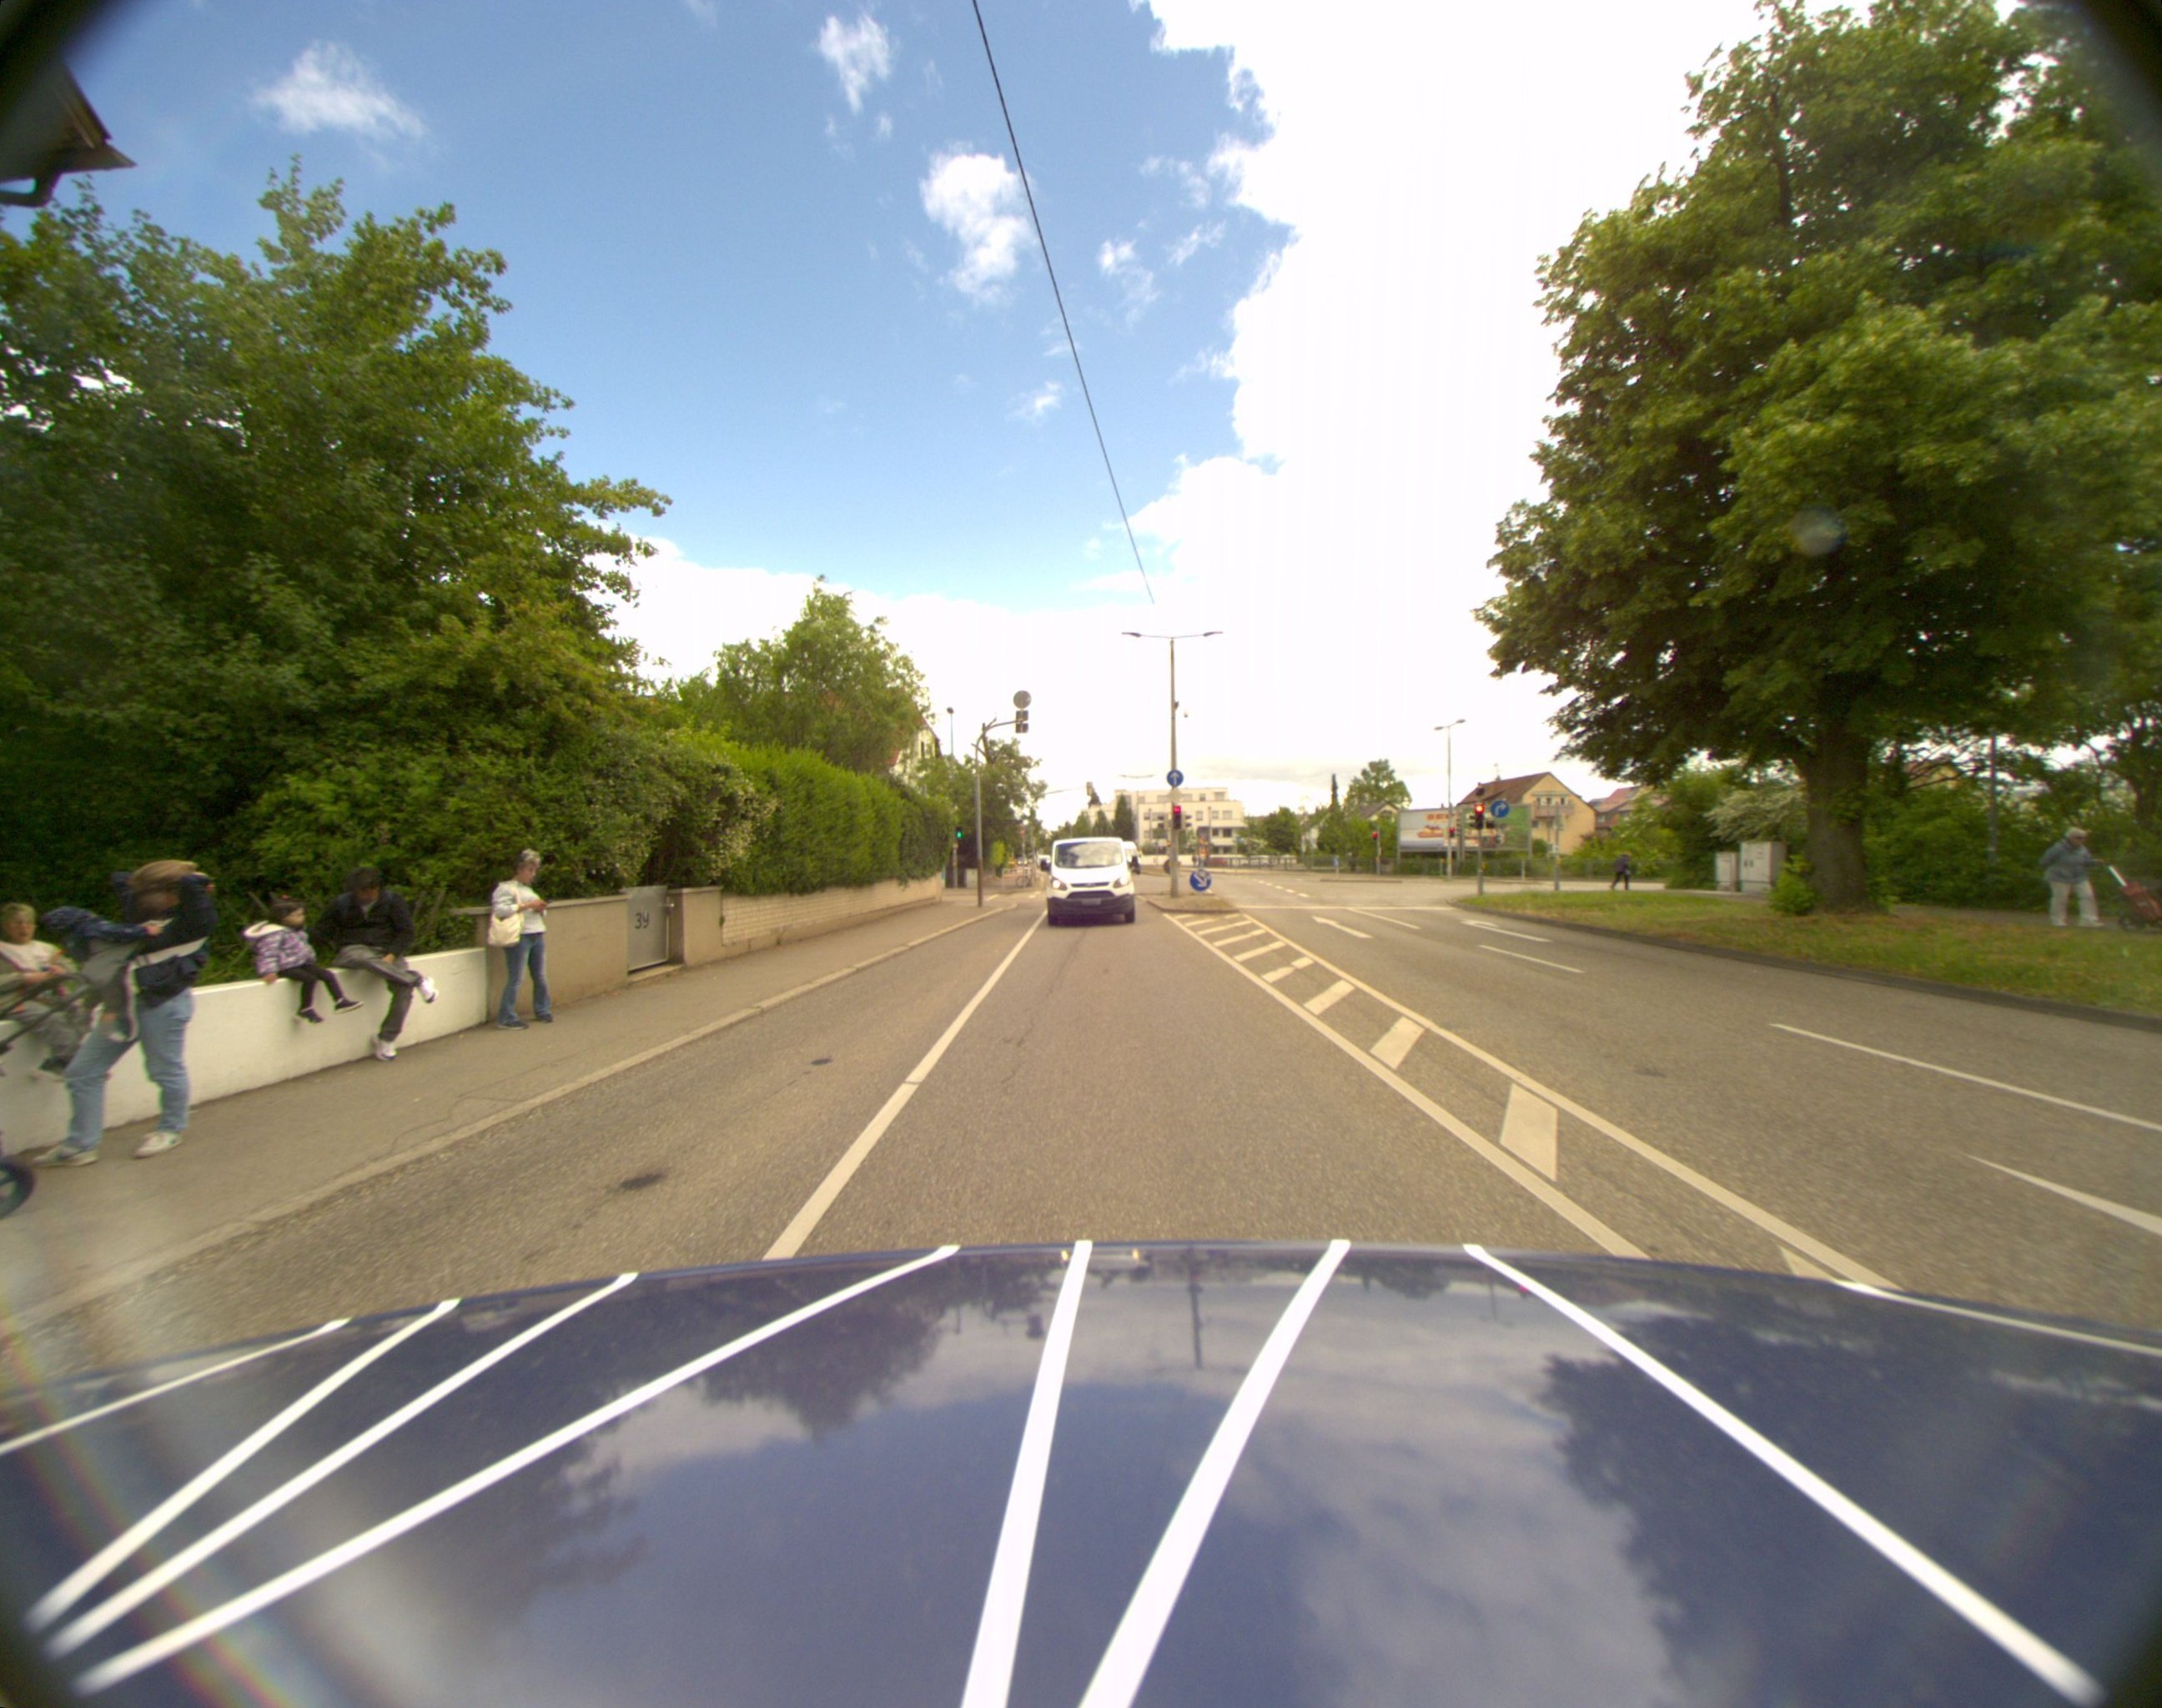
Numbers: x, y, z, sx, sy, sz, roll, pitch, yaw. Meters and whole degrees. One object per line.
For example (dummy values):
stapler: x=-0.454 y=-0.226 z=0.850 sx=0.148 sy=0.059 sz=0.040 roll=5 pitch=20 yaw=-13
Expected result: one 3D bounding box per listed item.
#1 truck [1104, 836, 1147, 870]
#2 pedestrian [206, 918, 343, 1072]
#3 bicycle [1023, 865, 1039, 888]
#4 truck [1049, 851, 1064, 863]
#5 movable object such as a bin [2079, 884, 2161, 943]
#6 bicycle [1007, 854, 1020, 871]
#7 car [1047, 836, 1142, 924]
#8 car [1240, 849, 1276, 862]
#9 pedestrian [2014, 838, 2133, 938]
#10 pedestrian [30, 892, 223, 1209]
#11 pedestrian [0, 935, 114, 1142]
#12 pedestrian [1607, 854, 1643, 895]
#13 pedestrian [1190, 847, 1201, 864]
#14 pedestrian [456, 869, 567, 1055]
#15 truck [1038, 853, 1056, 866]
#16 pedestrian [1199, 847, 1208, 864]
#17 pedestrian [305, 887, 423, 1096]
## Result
truck: x=3.455 y=-0.076 z=60.526 sx=2.038 sy=2.555 sz=6.051 roll=1 pitch=0 yaw=-11
pedestrian: x=-5.450 y=0.938 z=5.152 sx=0.455 sy=0.958 sz=0.383 roll=4 pitch=0 yaw=-4
bicycle: x=-2.344 y=1.027 z=35.573 sx=0.629 sy=1.022 sz=1.504 roll=-1 pitch=0 yaw=0
truck: x=-4.635 y=0.492 z=143.977 sx=2.132 sy=2.251 sz=6.800 roll=0 pitch=0 yaw=-8
movable object such as a bin: x=15.706 y=0.865 z=11.250 sx=0.657 sy=0.793 sz=0.897 roll=0 pitch=0 yaw=-1
bicycle: x=-6.077 y=0.752 z=68.566 sx=0.894 sy=1.501 sz=2.782 roll=4 pitch=0 yaw=-3
car: x=0.183 y=0.596 z=19.745 sx=2.076 sy=1.956 sz=5.555 roll=0 pitch=0 yaw=-3
car: x=22.589 y=0.179 z=97.102 sx=4.117 sy=1.526 sz=1.651 roll=2 pitch=0 yaw=36
pedestrian: x=15.692 y=0.519 z=12.039 sx=0.657 sy=1.513 sz=0.923 roll=0 pitch=1 yaw=-1
pedestrian: x=-4.937 y=0.971 z=3.942 sx=0.550 sy=1.508 sz=0.362 roll=3 pitch=0 yaw=11
pedestrian: x=-5.477 y=0.925 z=3.906 sx=0.455 sy=0.958 sz=0.383 roll=4 pitch=0 yaw=-4
pedestrian: x=19.445 y=0.716 z=27.154 sx=0.776 sy=1.400 sz=0.599 roll=-1 pitch=5 yaw=-9
pedestrian: x=11.657 y=0.141 z=77.431 sx=0.658 sy=1.624 sz=1.069 roll=-2 pitch=1 yaw=-15
pedestrian: x=-5.058 y=0.924 z=6.768 sx=0.470 sy=1.546 sz=0.546 roll=4 pitch=0 yaw=12
truck: x=-4.915 y=0.831 z=110.099 sx=1.617 sy=1.780 sz=3.994 roll=1 pitch=0 yaw=-17
pedestrian: x=12.500 y=0.144 z=77.518 sx=0.658 sy=1.624 sz=0.832 roll=-2 pitch=1 yaw=-15
pedestrian: x=-5.384 y=0.982 z=5.702 sx=0.619 sy=1.419 sz=0.514 roll=3 pitch=0 yaw=40
